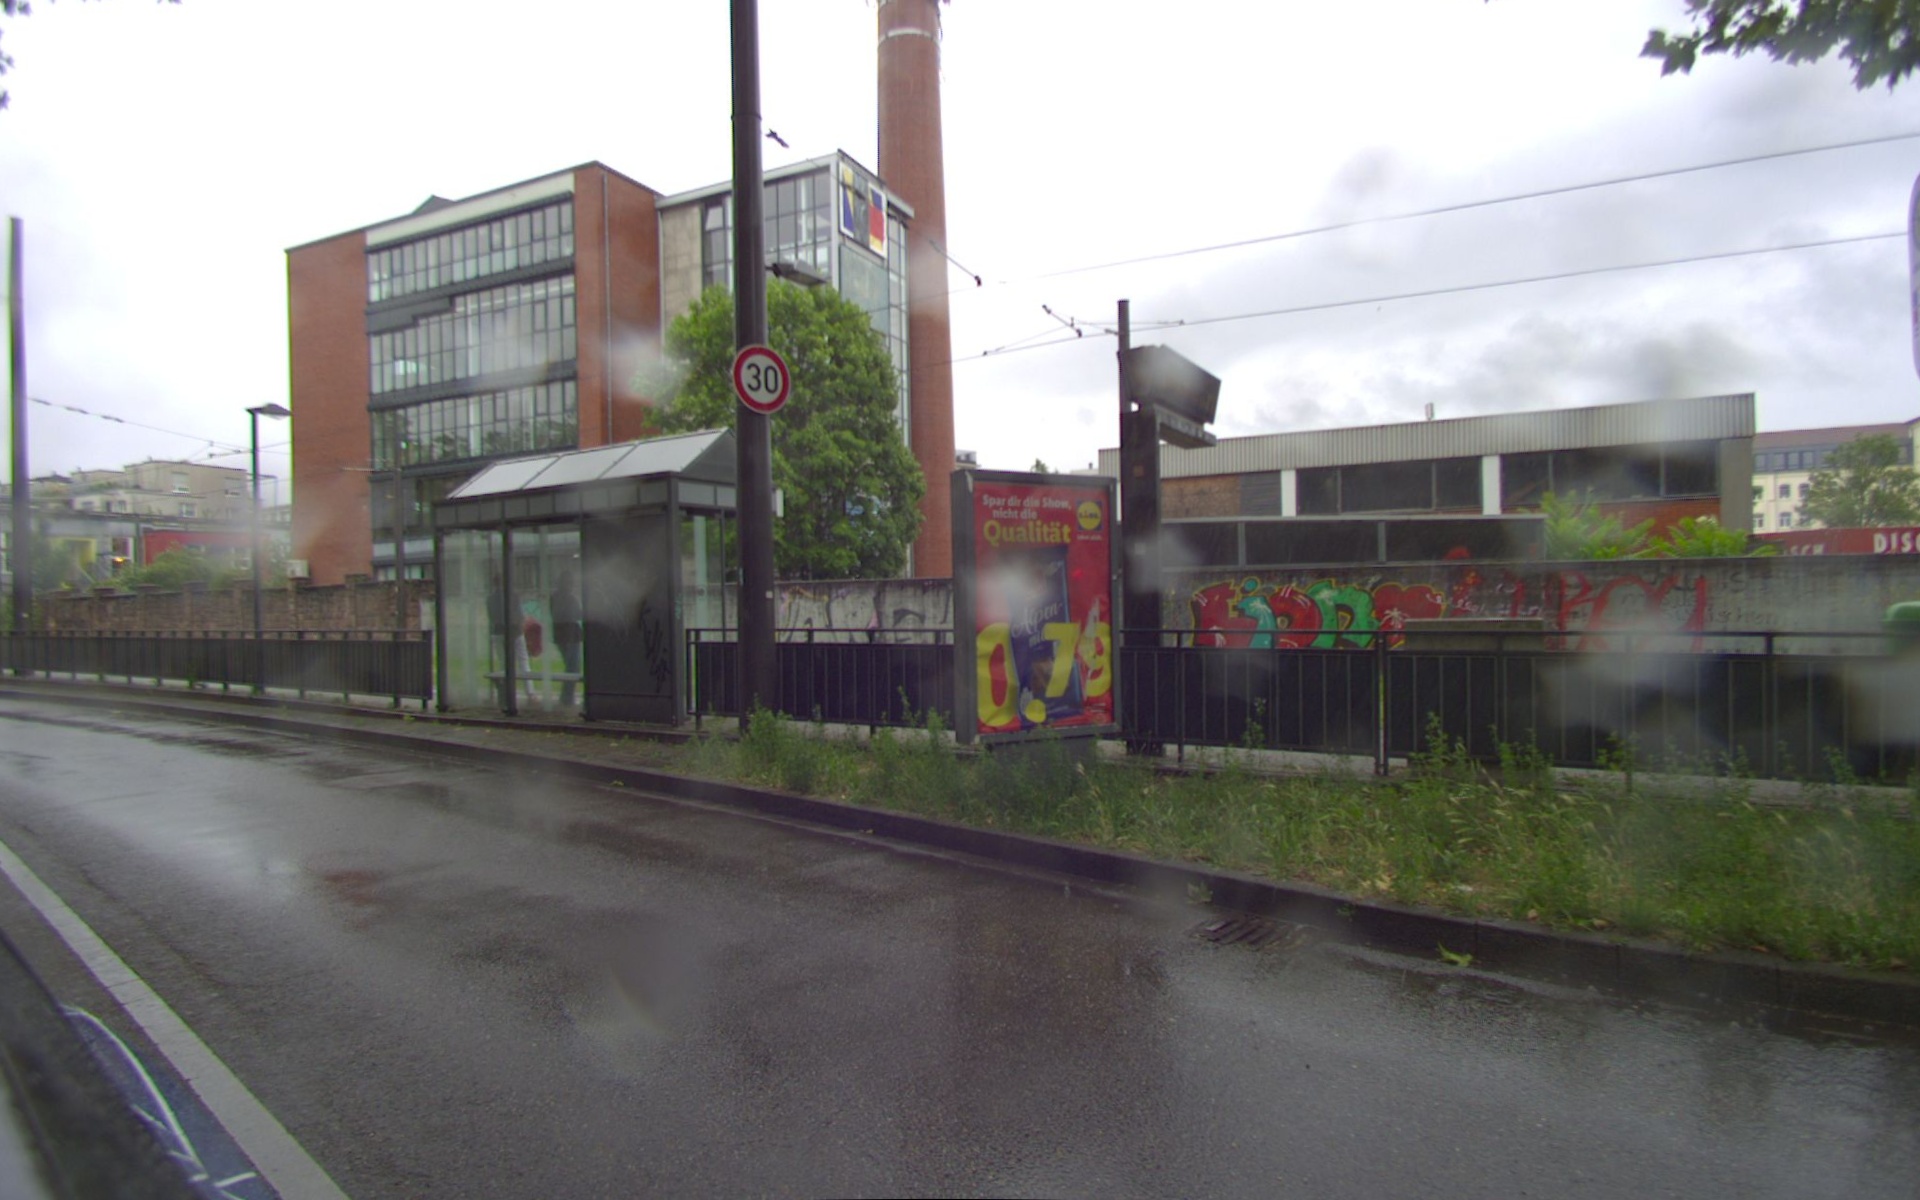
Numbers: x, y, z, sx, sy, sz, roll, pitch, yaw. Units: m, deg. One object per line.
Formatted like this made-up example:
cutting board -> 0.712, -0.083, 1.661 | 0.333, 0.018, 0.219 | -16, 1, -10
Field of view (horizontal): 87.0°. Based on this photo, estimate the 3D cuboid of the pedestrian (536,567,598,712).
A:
pedestrian -> -4.838, 0.478, 12.479 | 0.560, 1.744, 0.583 | 0, -2, -3

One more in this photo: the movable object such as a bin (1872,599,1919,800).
movable object such as a bin -> 5.541, 0.545, 5.655 | 0.528, 1.098, 0.414 | -1, -2, 25

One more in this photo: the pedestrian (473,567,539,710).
pedestrian -> -5.680, 0.474, 12.690 | 0.560, 1.744, 0.583 | 0, -2, -1
